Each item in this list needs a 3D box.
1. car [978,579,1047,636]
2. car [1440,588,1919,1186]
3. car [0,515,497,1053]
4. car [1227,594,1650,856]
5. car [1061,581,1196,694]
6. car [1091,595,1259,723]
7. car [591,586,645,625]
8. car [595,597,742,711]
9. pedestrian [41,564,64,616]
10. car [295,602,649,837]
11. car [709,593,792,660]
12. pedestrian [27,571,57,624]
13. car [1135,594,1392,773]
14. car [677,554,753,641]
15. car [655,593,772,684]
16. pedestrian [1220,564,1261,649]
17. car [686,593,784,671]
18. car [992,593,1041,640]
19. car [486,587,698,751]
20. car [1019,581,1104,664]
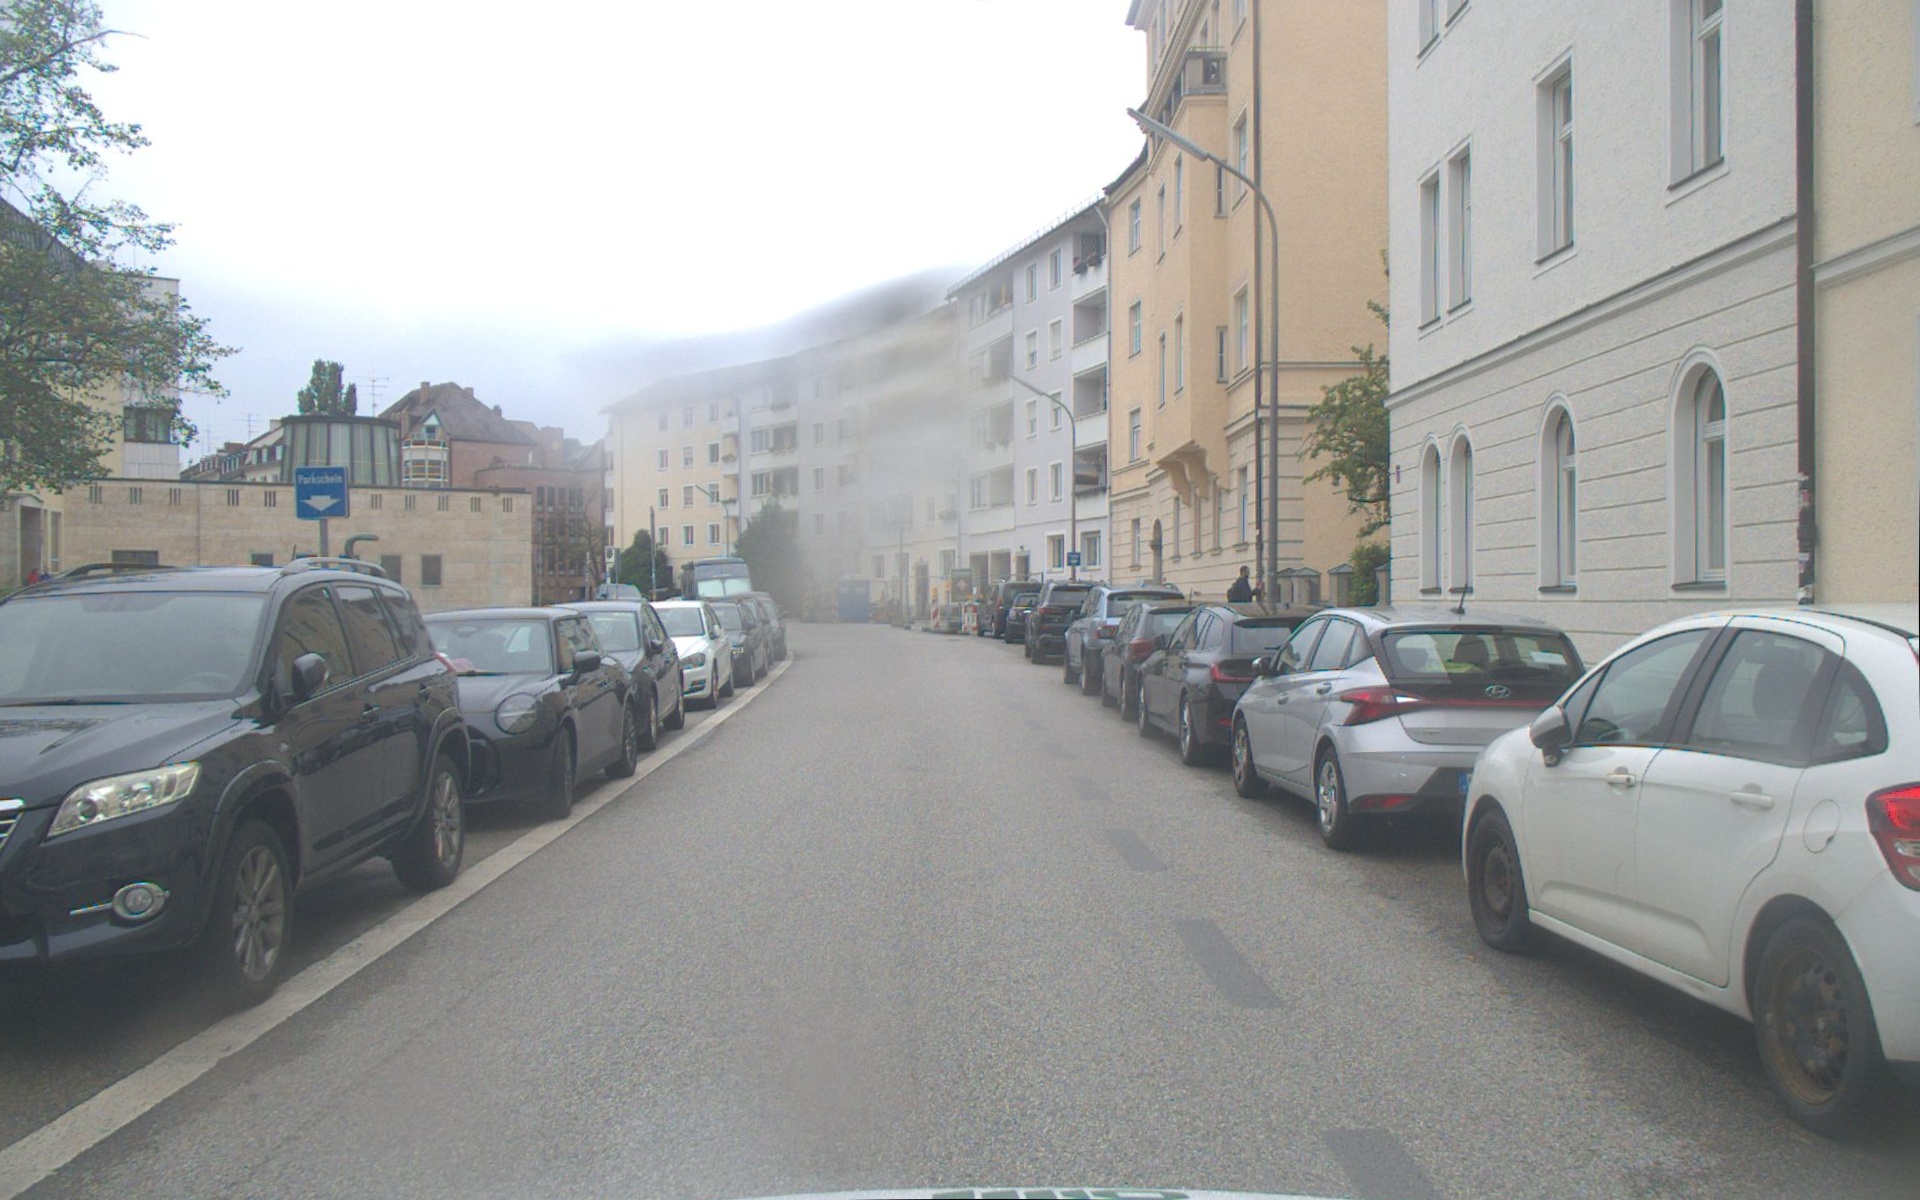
[{"bbox_3d":[1.658,0.215,52.890,1.572,1.745,3.082,1,0,-10],"label":"car"},{"bbox_3d":[3.166,0.724,6.062,1.567,1.517,3.797,0,1,-3],"label":"car"},{"bbox_3d":[-3.444,0.597,7.351,1.667,1.720,4.027,-2,0,-1],"label":"car"},{"bbox_3d":[3.047,0.727,11.374,1.658,1.457,3.943,1,0,-2],"label":"car"},{"bbox_3d":[2.602,0.533,26.369,1.558,1.610,4.298,1,0,-2],"label":"car"},{"bbox_3d":[2.682,0.688,21.388,1.558,1.457,3.824,1,0,-2],"label":"car"},{"bbox_3d":[-15.645,0.228,75.616,1.581,1.677,3.111,3,-1,-28],"label":"car"},{"bbox_3d":[-4.046,0.693,23.441,1.591,1.444,3.978,-1,0,-4],"label":"car"},{"bbox_3d":[-31.181,-0.343,56.834,0.593,1.766,0.657,3,-1,-32],"label":"pedestrian"},{"bbox_3d":[-3.489,0.768,12.531,1.591,1.437,3.798,-2,0,-1],"label":"car"},{"bbox_3d":[-4.809,0.580,38.266,1.591,1.444,3.646,-1,0,-3],"label":"car"},{"bbox_3d":[-30.896,-0.085,55.667,0.659,1.766,0.640,2,-1,-16],"label":"pedestrian"},{"bbox_3d":[2.790,0.694,16.136,1.558,1.457,4.420,1,0,-2],"label":"car"},{"bbox_3d":[-7.990,-0.097,53.690,1.743,2.700,3.979,0,0,-19],"label":"car"},{"bbox_3d":[-4.237,0.626,28.923,1.591,1.444,3.979,-1,0,-3],"label":"car"},{"bbox_3d":[5.784,0.139,34.110,0.653,1.722,0.690,2,-1,-1],"label":"pedestrian"},{"bbox_3d":[-4.504,0.604,33.558,1.591,1.444,3.979,-1,0,-3],"label":"car"},{"bbox_3d":[1.619,0.468,47.958,1.246,1.321,2.796,0,0,-2],"label":"car"},{"bbox_3d":[-3.827,0.652,17.777,1.591,1.535,3.978,-1,0,-4],"label":"car"},{"bbox_3d":[2.155,0.439,35.930,1.444,1.669,3.999,1,0,-2],"label":"car"}]
